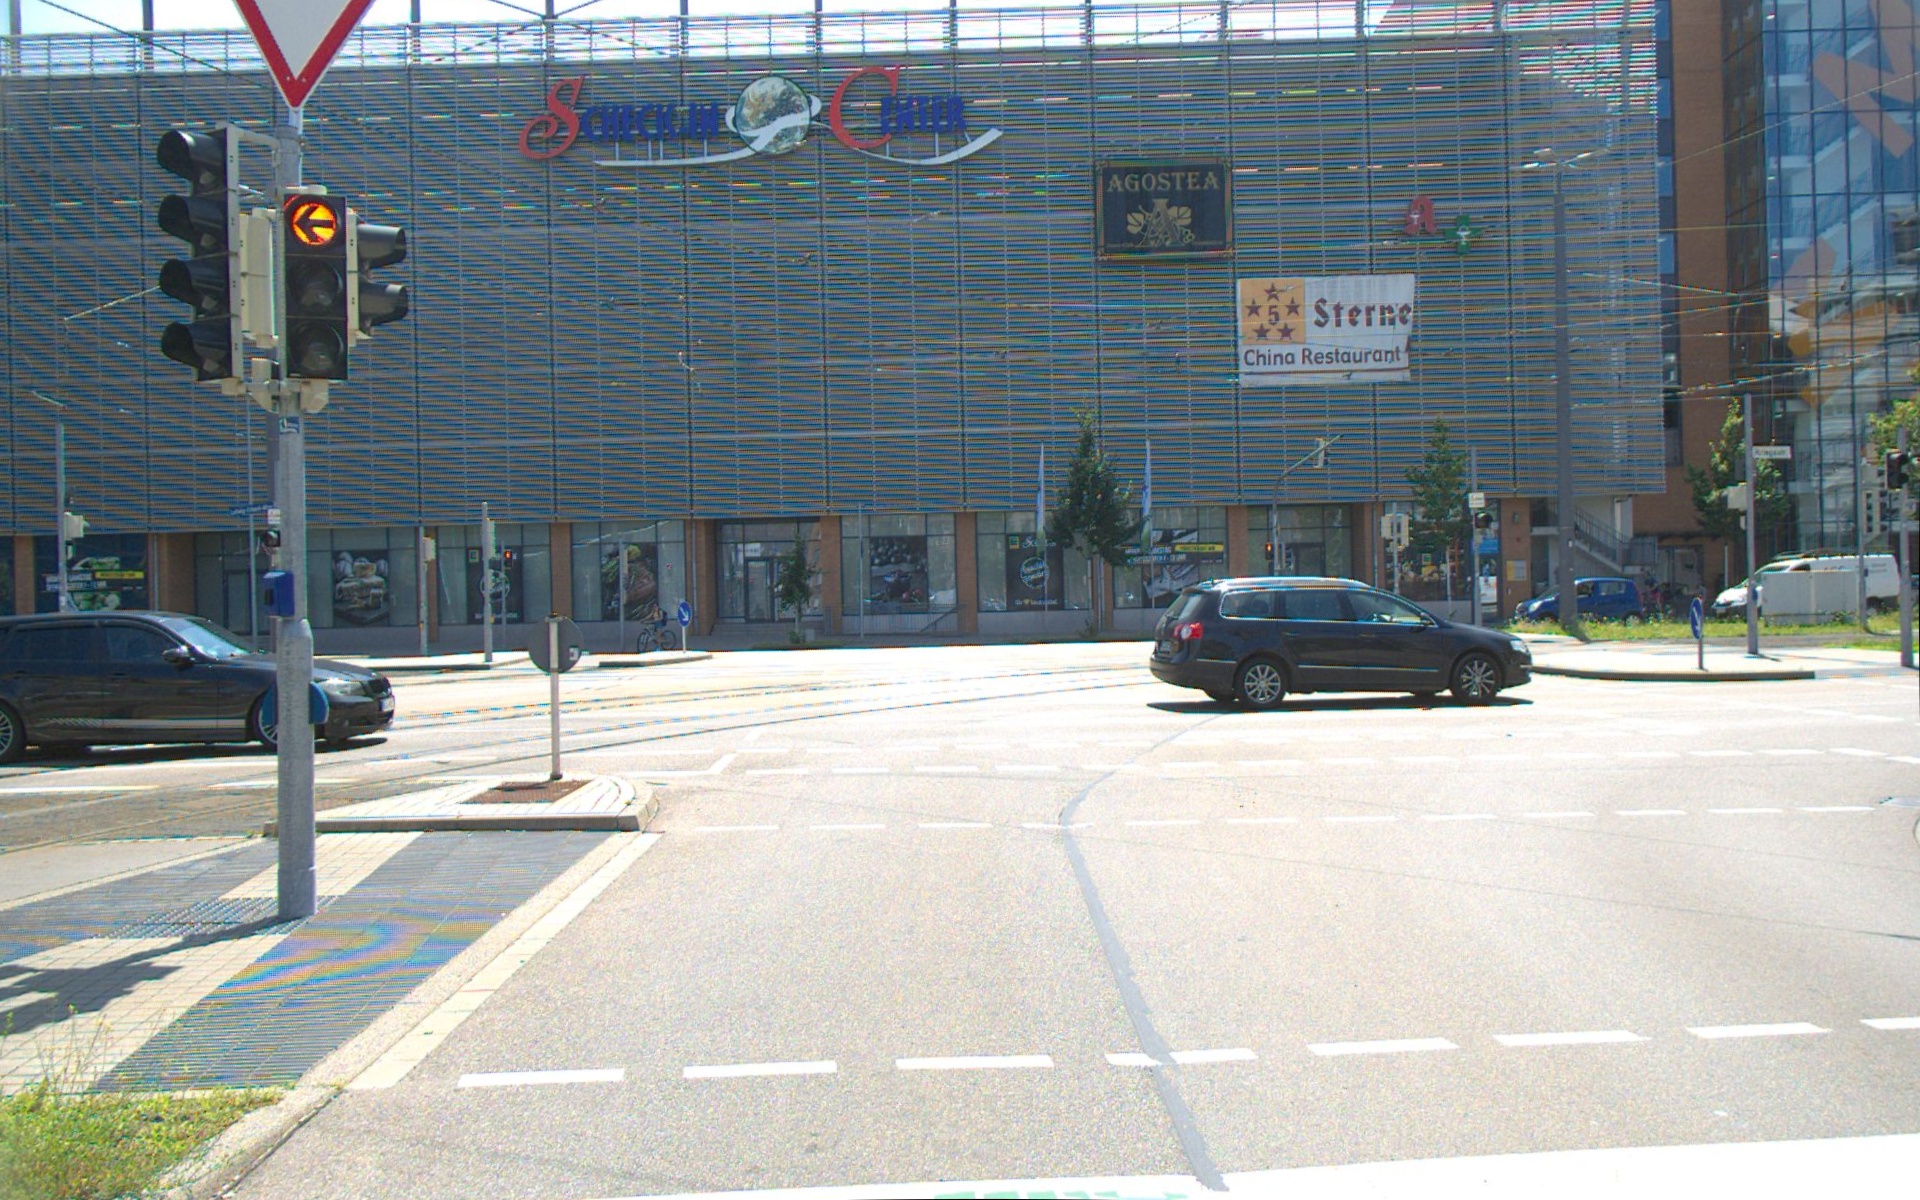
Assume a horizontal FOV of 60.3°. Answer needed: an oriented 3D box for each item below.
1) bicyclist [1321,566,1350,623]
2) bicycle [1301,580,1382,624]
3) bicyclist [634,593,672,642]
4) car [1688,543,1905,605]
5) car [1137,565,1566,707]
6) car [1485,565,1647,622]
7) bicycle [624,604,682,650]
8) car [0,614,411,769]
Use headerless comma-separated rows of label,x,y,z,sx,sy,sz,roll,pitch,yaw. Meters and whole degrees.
bicyclist,13.642,-0.219,60.056,0.893,2.049,0.748,0,1,2
bicycle,13.850,0.071,60.061,2.790,1.584,0.705,0,1,2
bicyclist,-10.185,0.569,54.876,1.017,1.599,0.778,0,1,7
car,23.970,-0.746,47.482,5.357,1.697,1.998,-1,1,-6
car,4.725,0.399,20.365,4.761,1.608,1.998,-1,1,-6
car,17.106,-0.196,46.822,3.906,1.565,1.881,-1,1,-2
bicycle,-10.174,0.875,54.946,1.039,1.414,3.026,0,1,7
car,-7.792,0.864,16.297,4.219,1.366,1.634,-1,1,-4
